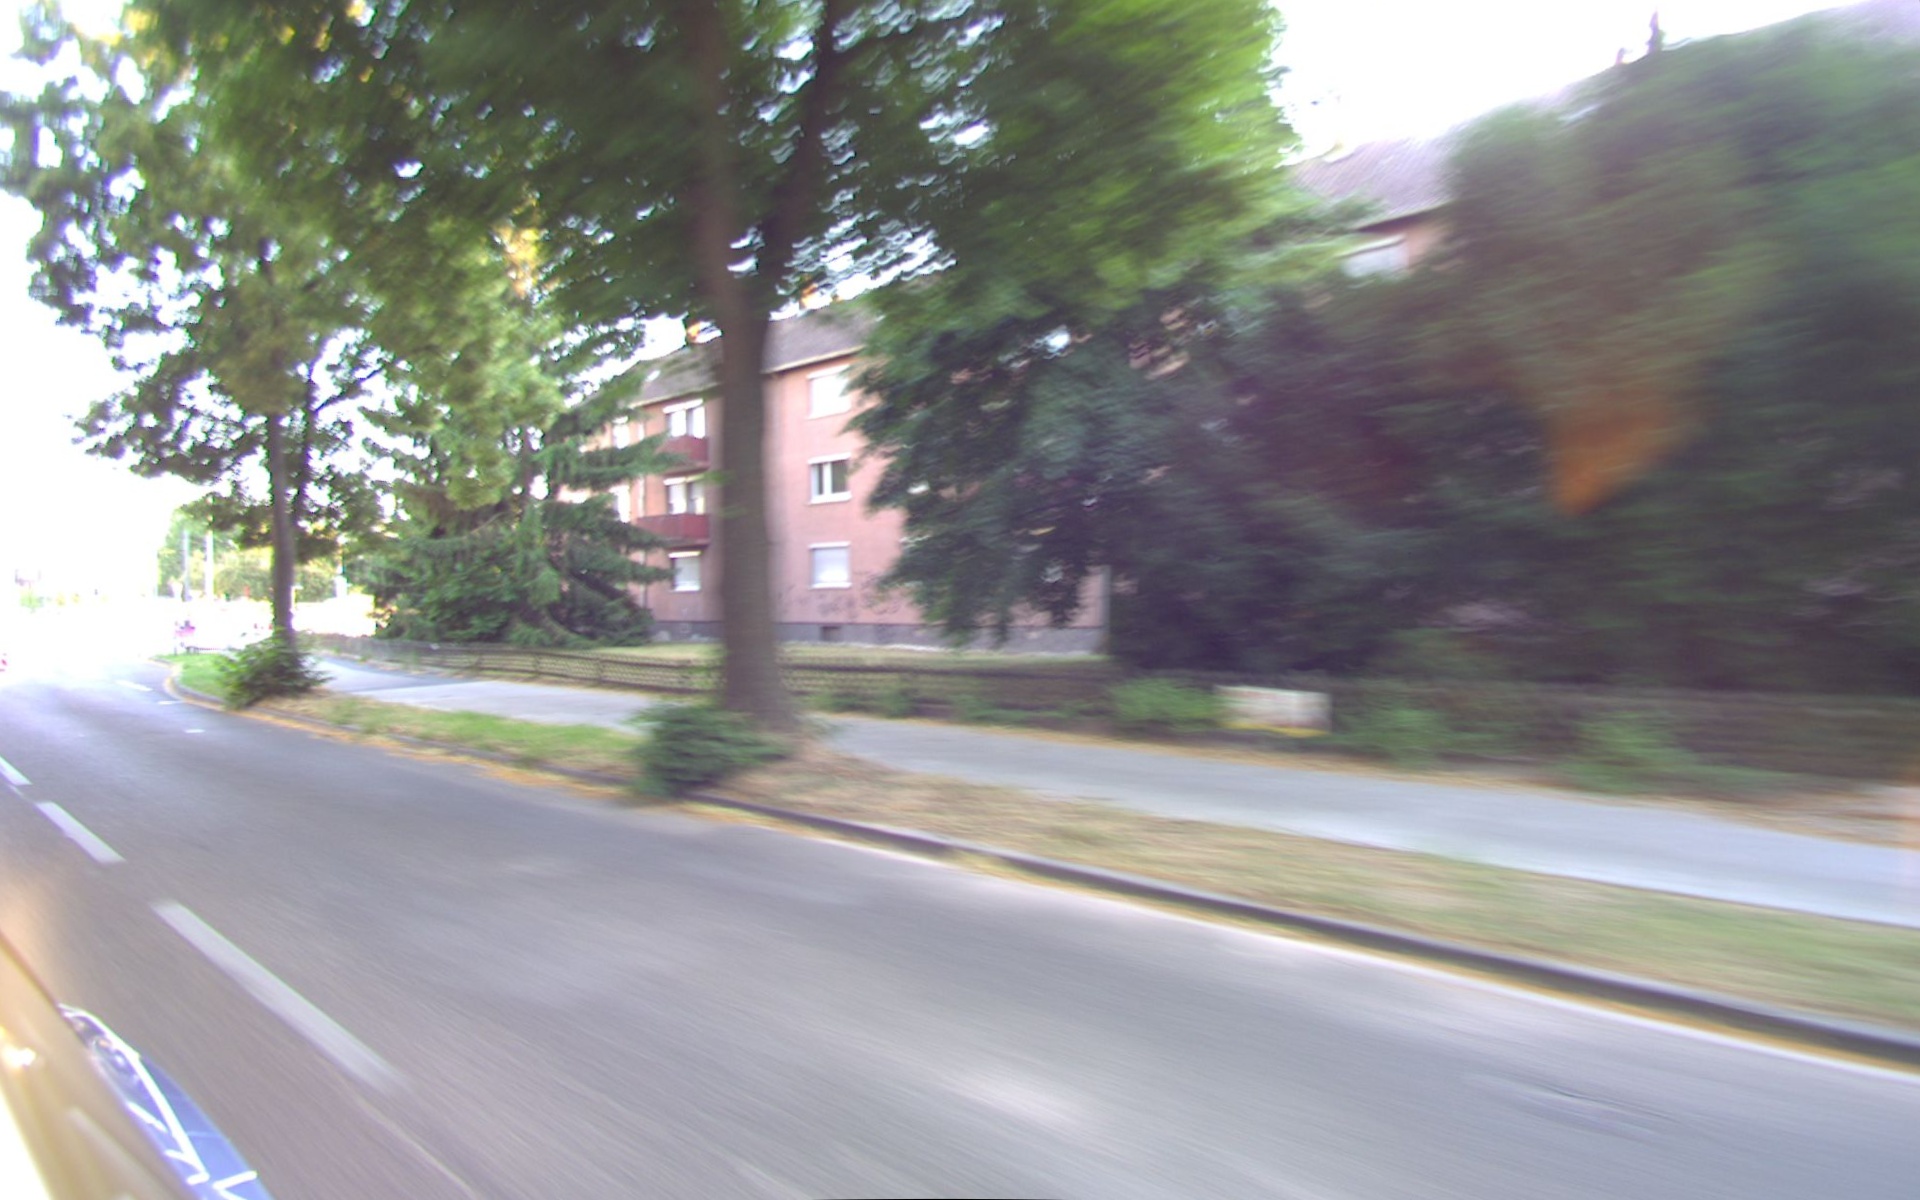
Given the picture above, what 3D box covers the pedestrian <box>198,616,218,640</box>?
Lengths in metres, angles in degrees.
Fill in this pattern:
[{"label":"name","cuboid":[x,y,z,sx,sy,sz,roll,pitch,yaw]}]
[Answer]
[{"label":"pedestrian","cuboid":[-54.499,2.029,73.356,0.784,1.708,0.917,-1,-2,30]}]
